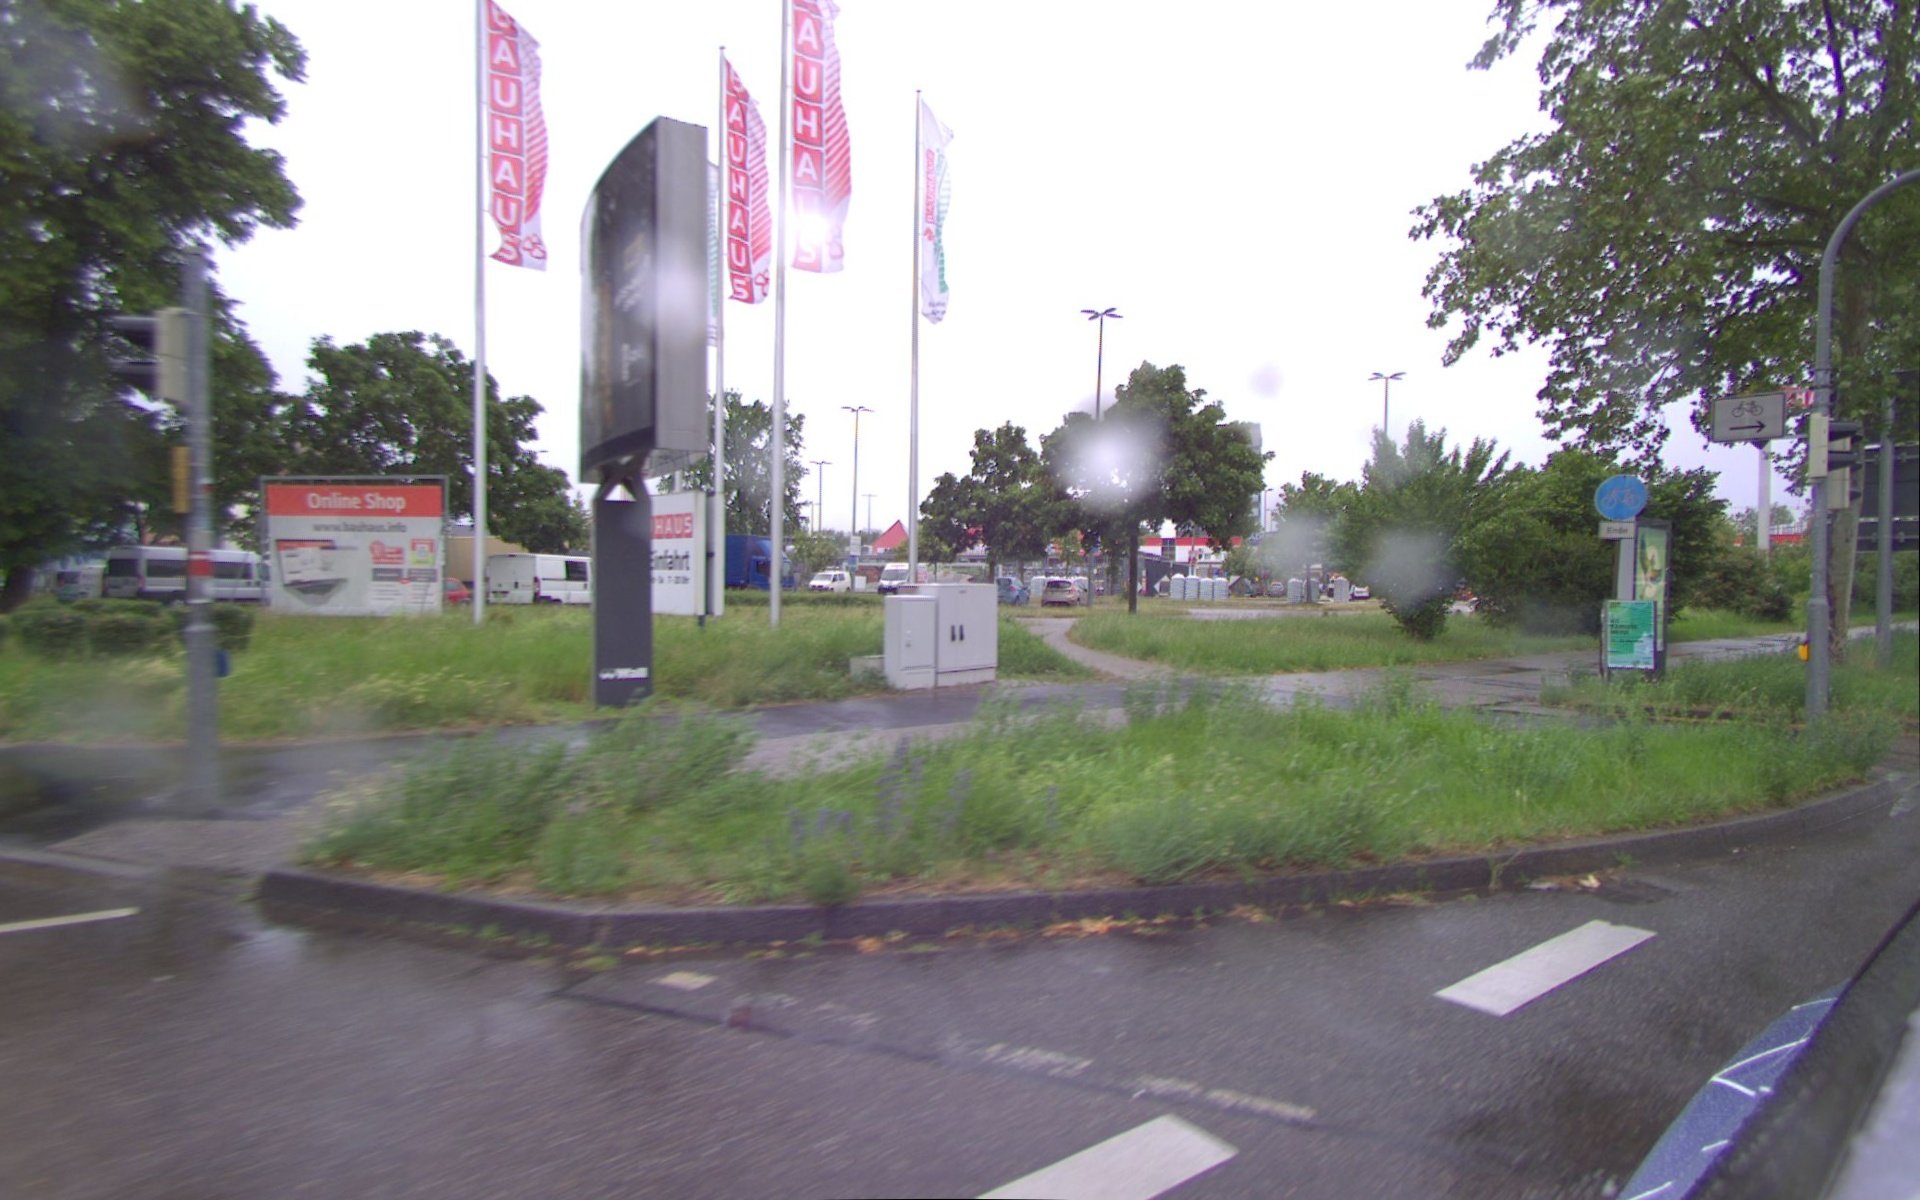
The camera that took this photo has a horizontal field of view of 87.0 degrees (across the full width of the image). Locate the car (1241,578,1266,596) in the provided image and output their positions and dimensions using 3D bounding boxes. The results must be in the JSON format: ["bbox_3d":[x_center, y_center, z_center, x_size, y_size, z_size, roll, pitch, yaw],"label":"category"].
[{"bbox_3d":[27.978,-1.253,96.386,1.907,1.572,4.243,0,2,22],"label":"car"}]

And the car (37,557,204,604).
[{"bbox_3d":[-35.006,-0.849,42.382,2.164,1.859,5.004,1,2,19],"label":"car"}]

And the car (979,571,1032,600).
[{"bbox_3d":[2.175,-0.716,47.281,1.840,1.308,4.035,0,2,13],"label":"car"}]

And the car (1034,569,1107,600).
[{"bbox_3d":[5.010,-0.716,45.492,1.853,1.308,4.008,1,2,29],"label":"car"}]

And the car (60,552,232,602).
[{"bbox_3d":[-32.309,-0.927,40.380,2.164,1.859,5.004,1,2,19],"label":"car"}]

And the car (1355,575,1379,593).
[{"bbox_3d":[37.175,-1.495,92.304,1.909,1.572,4.239,0,2,24],"label":"car"}]

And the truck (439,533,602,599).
[{"bbox_3d":[-24.841,-1.831,57.114,9.282,3.514,2.536,0,0,21],"label":"truck"}]

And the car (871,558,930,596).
[{"bbox_3d":[-3.877,-1.530,67.388,2.298,2.390,5.492,0,1,15],"label":"car"}]

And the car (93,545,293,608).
[{"bbox_3d":[-29.543,-0.940,39.288,2.164,2.231,6.028,1,2,19],"label":"car"}]

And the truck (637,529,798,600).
[{"bbox_3d":[-12.502,-1.774,52.094,7.910,3.514,2.538,1,0,18],"label":"truck"}]

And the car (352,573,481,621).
[{"bbox_3d":[-19.308,-0.144,36.158,1.970,1.616,3.985,0,1,13],"label":"car"}]

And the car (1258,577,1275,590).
[{"bbox_3d":[39.013,-2.112,128.722,1.976,1.698,4.251,0,1,17],"label":"car"}]

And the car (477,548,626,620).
[{"bbox_3d":[-13.738,-0.570,34.440,2.159,2.231,5.083,0,1,13],"label":"car"}]

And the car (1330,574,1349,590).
[{"bbox_3d":[46.712,-2.218,124.469,1.909,1.921,4.711,0,1,24],"label":"car"}]

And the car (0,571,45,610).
[{"bbox_3d":[-46.700,-0.430,47.641,2.164,1.859,5.004,1,2,19],"label":"car"}]

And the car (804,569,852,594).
[{"bbox_3d":[-10.581,-1.519,81.475,2.029,1.919,4.767,0,1,19],"label":"car"}]

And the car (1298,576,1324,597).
[{"bbox_3d":[27.840,-1.096,80.381,1.905,1.572,4.247,0,1,19],"label":"car"}]
